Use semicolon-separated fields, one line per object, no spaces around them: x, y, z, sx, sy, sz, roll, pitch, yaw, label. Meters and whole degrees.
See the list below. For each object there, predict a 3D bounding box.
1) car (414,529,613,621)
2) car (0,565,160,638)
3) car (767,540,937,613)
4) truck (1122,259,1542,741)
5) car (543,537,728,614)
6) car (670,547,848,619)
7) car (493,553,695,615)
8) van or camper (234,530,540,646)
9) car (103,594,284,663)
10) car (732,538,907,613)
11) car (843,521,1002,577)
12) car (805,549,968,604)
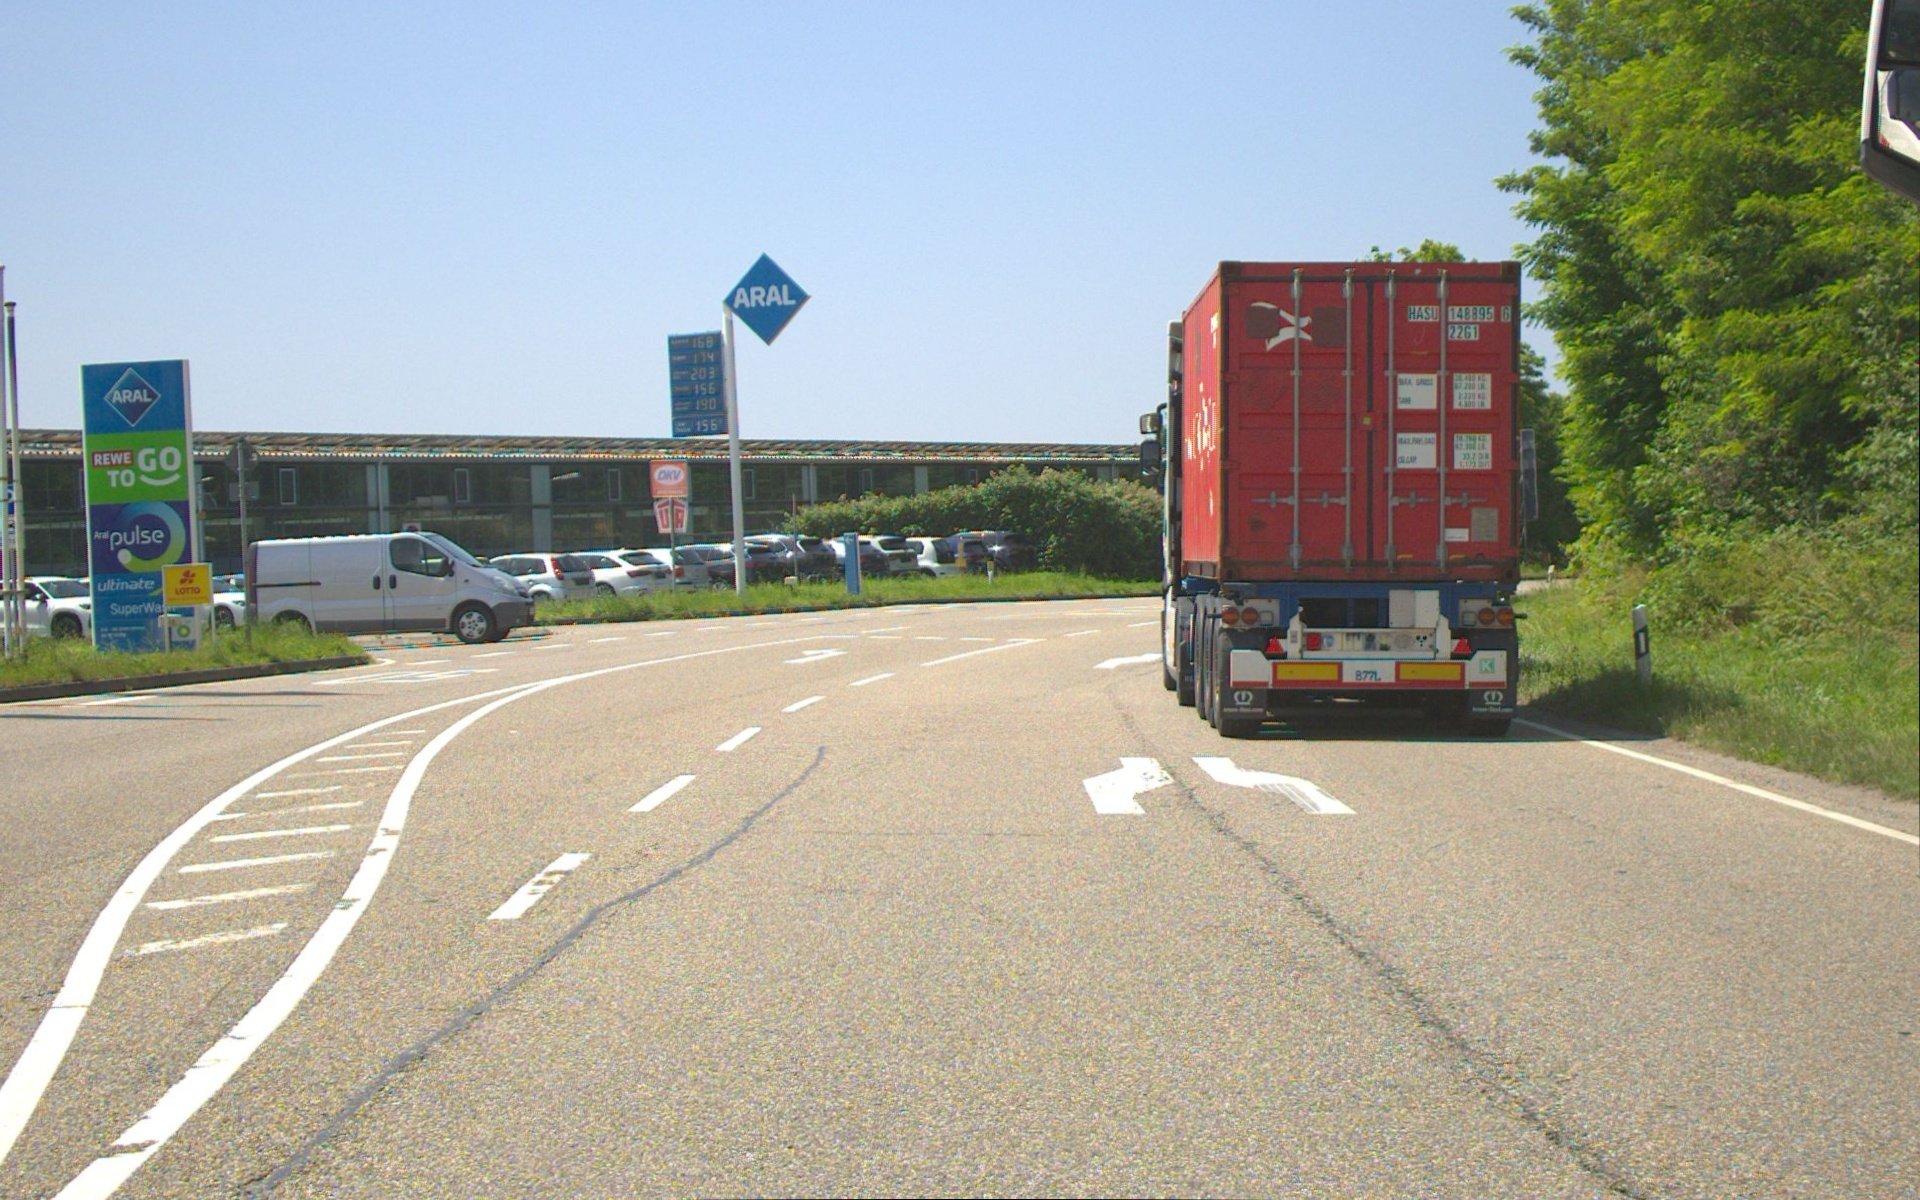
-10.100;-0.566;77.721;3.993;2.007;1.997;-1;1;27;car
-20.741;0.051;78.366;4.585;1.498;1.997;-2;1;26;car
-2.877;-0.626;91.367;3.993;1.744;1.997;-2;1;29;car
3.288;-0.933;34.187;2.647;3.793;13.360;1;1;0;truck
-7.769;-0.579;82.341;3.993;1.744;1.931;-1;1;29;car
-5.045;-0.418;86.325;3.993;1.744;1.997;-1;0;29;car
-8.492;-0.364;79.799;4.243;1.354;1.997;-1;1;27;car
-9.730;-0.195;58.630;4.848;1.898;1.904;0;0;3;van or camper
-18.396;0.691;82.493;3.993;1.577;1.815;-1;0;28;car
-3.629;-0.639;88.706;3.993;1.744;1.997;-2;1;29;car
-1.047;-1.420;95.480;3.992;1.357;1.818;-2;1;26;car
-2.009;-0.649;93.559;3.992;1.313;1.831;-2;1;26;car
